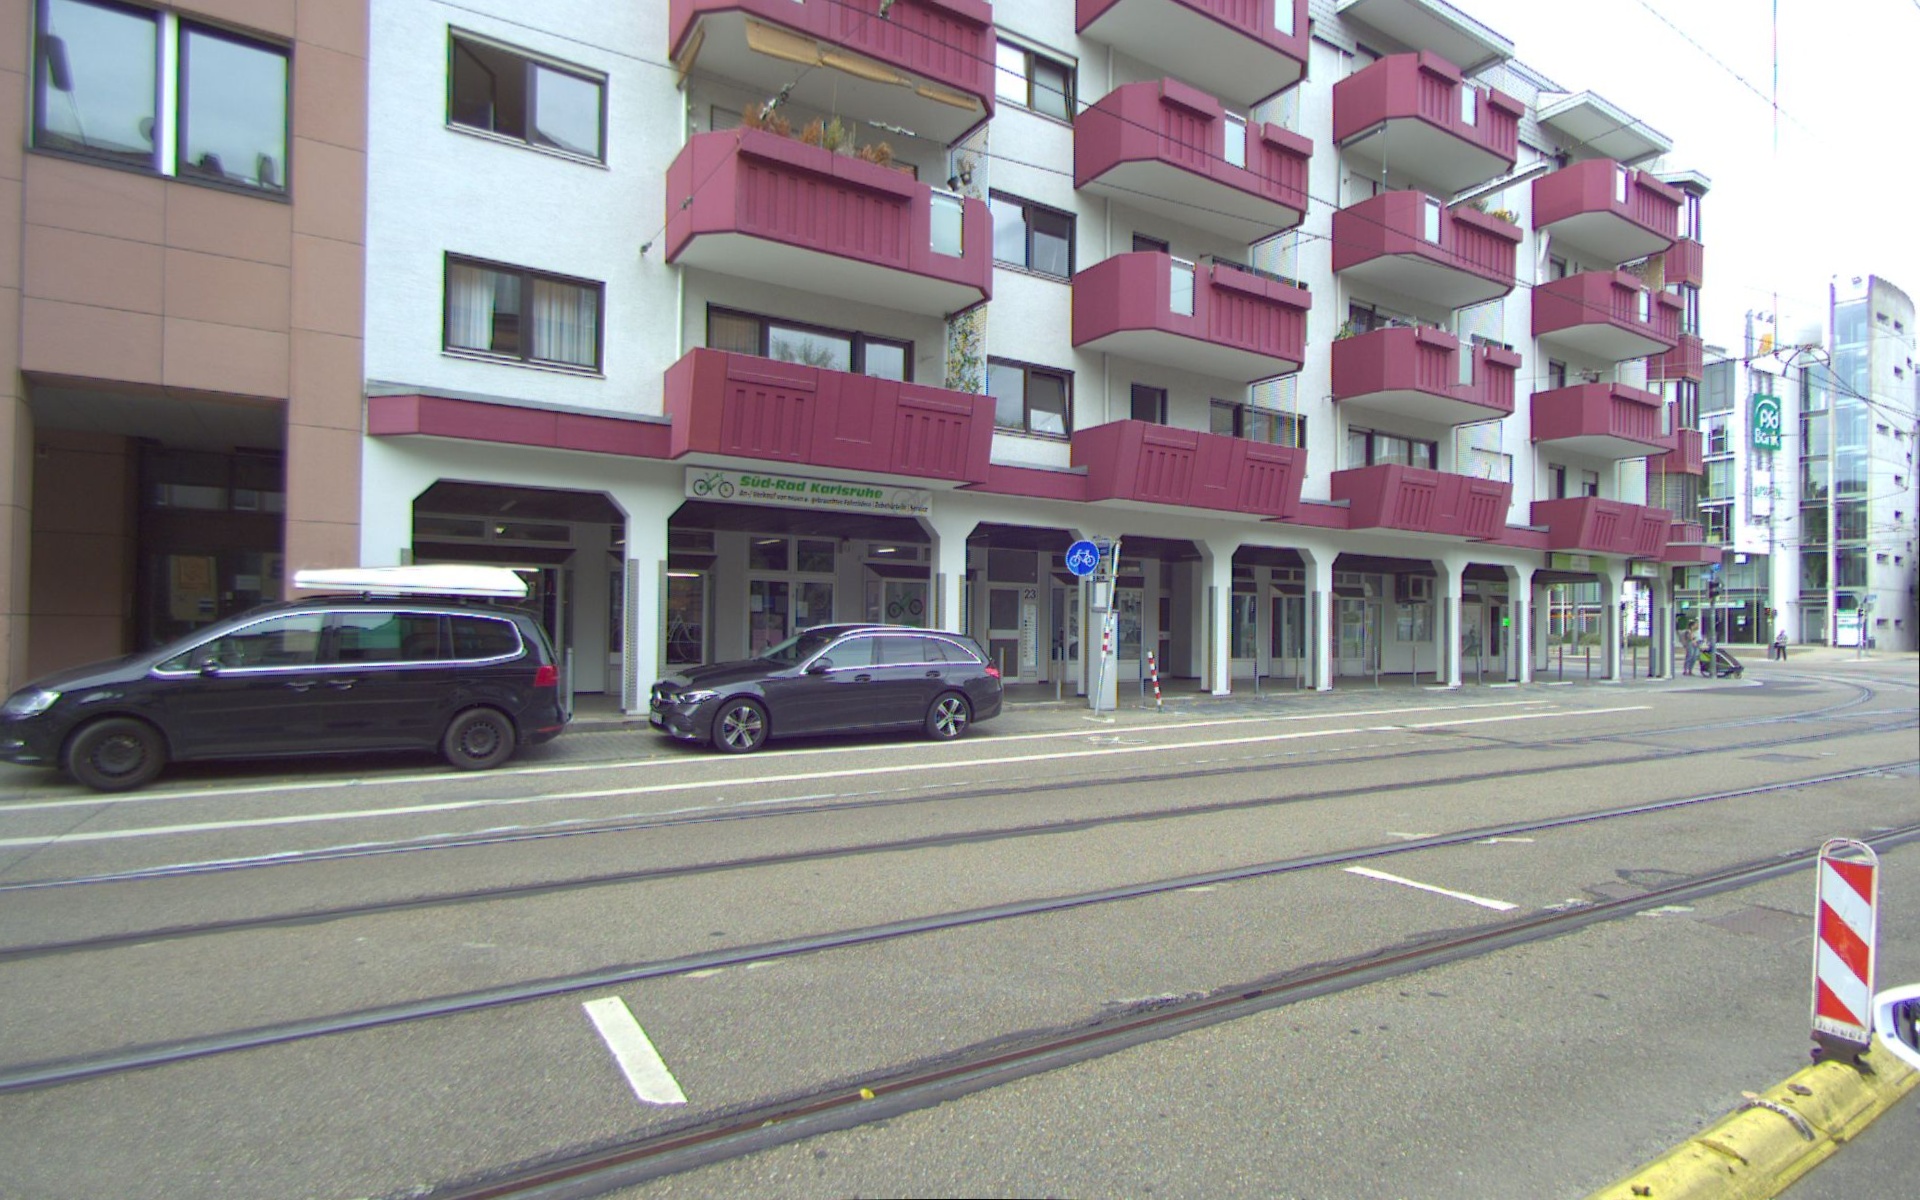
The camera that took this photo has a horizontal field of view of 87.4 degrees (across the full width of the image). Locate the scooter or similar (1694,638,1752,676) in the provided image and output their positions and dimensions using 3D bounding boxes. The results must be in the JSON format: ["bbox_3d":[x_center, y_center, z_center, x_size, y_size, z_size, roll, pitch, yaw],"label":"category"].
[{"bbox_3d":[23.899,1.773,31.478,0.936,1.143,1.189,1,0,-32],"label":"scooter or similar"}]

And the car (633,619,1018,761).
[{"bbox_3d":[-1.656,1.047,13.044,4.645,1.500,1.745,1,1,-32],"label":"car"}]

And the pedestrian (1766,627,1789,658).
[{"bbox_3d":[49.422,2.574,60.727,0.754,1.889,0.833,1,-1,-17],"label":"pedestrian"}]

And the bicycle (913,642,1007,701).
[{"bbox_3d":[0.014,1.212,17.325,1.636,0.966,0.560,1,-1,-39],"label":"bicycle"}]

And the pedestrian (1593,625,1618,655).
[{"bbox_3d":[35.995,2.216,56.032,0.753,1.693,0.935,1,-1,-17],"label":"pedestrian"}]

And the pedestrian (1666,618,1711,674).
[{"bbox_3d":[23.391,1.452,32.251,0.803,1.766,0.942,1,-1,-33],"label":"pedestrian"}]

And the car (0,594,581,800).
[{"bbox_3d":[-6.478,0.835,10.232,4.645,1.669,1.797,1,1,-32],"label":"car"}]
